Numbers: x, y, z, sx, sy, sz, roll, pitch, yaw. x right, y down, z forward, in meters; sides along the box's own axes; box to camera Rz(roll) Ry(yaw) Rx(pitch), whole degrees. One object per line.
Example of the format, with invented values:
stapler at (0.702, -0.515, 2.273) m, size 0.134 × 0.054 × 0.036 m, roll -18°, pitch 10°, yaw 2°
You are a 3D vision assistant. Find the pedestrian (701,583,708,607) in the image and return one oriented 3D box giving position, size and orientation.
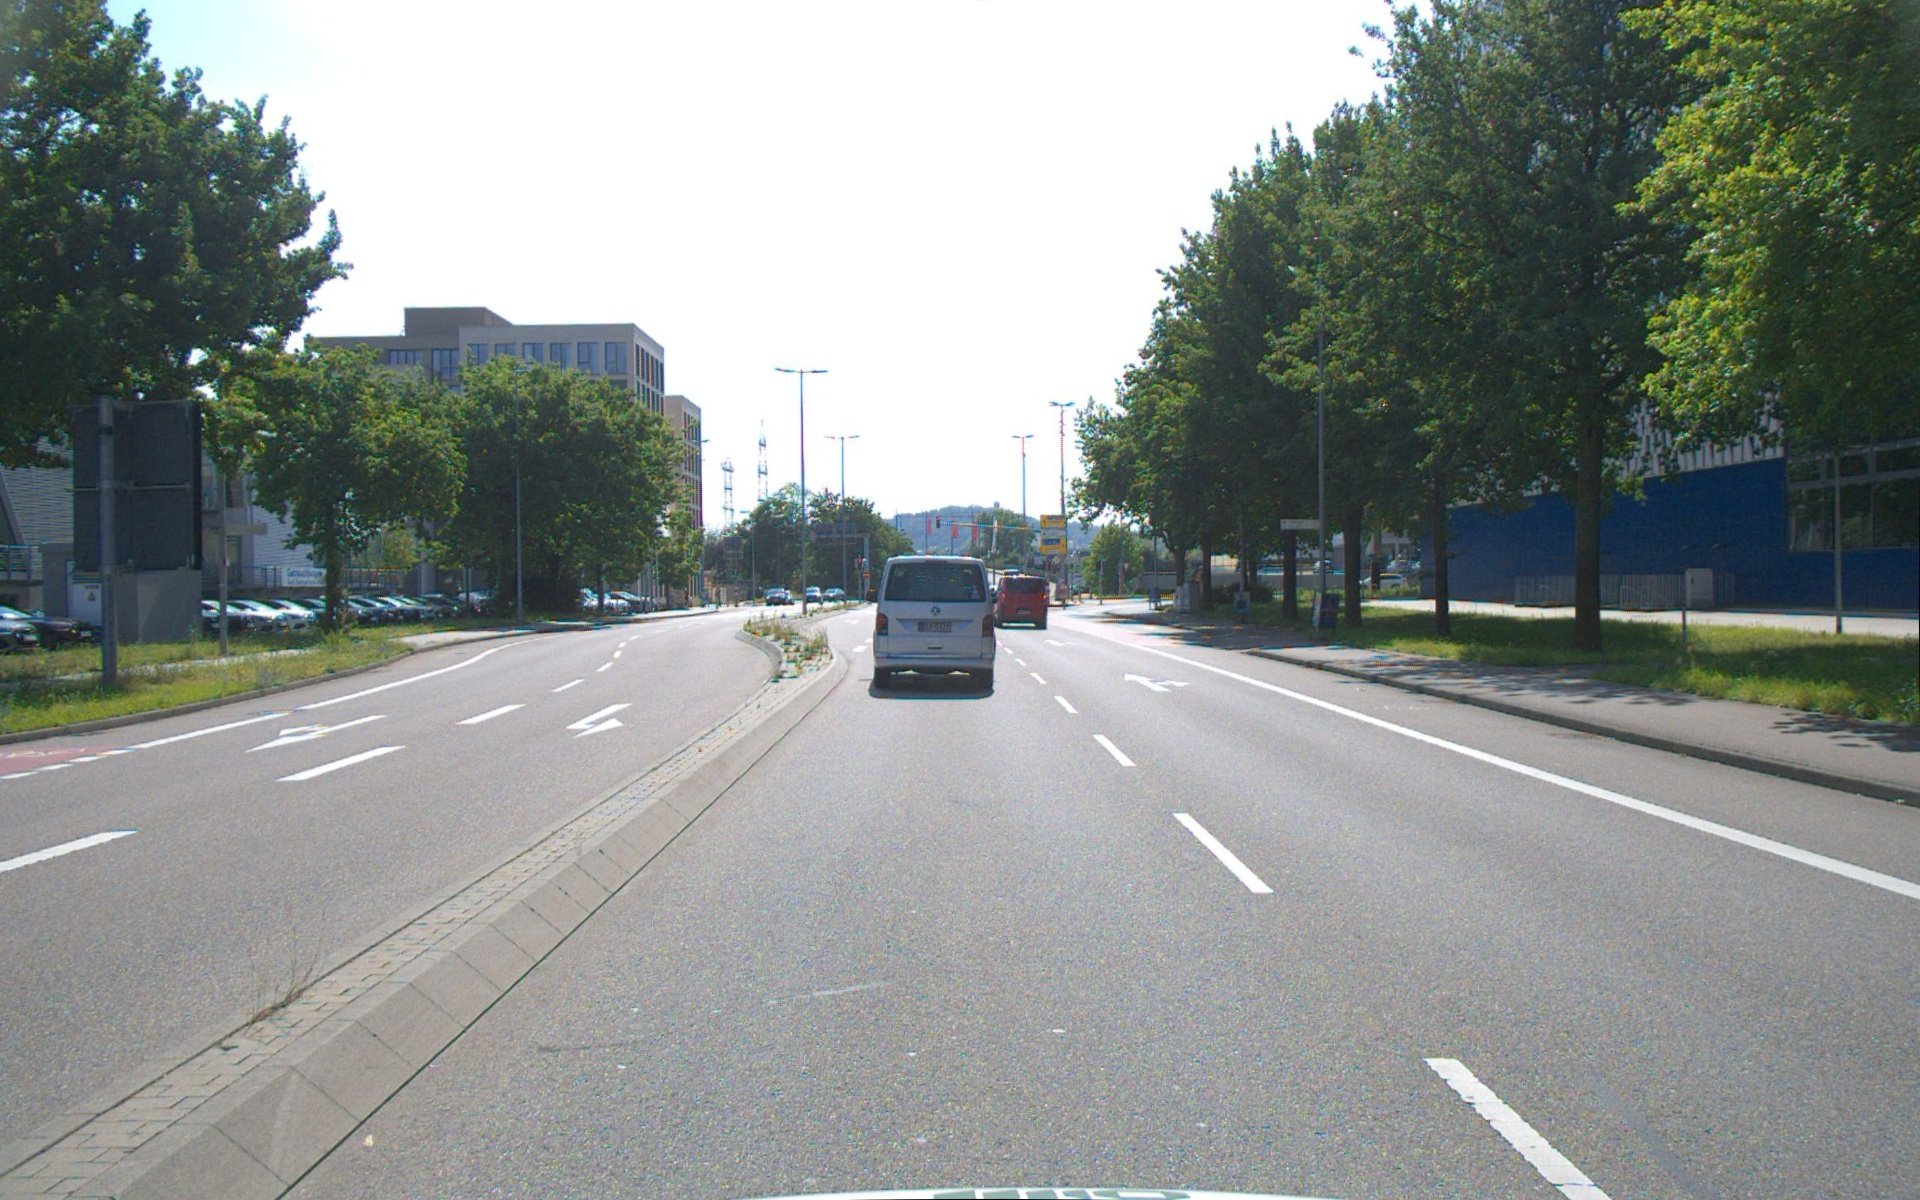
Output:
pedestrian at (-22.063, -0.417, 142.815) m, size 0.548 × 2.049 × 0.575 m, roll 0°, pitch 0°, yaw -9°

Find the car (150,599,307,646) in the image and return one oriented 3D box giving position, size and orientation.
car at (-23.694, 0.712, 53.692) m, size 4.091 × 1.176 × 2.086 m, roll -4°, pitch 1°, yaw -3°

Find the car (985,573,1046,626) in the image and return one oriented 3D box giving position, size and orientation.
car at (2.145, -0.040, 65.243) m, size 1.928 × 2.002 × 5.122 m, roll 0°, pitch 0°, yaw -4°

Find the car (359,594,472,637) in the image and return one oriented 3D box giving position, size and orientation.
car at (-23.736, 0.664, 72.216) m, size 4.163 × 1.467 × 2.000 m, roll -5°, pitch 0°, yaw -1°

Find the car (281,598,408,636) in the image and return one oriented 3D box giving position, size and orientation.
car at (-23.537, 0.644, 63.336) m, size 4.091 × 1.096 × 1.954 m, roll -4°, pitch 1°, yaw -3°

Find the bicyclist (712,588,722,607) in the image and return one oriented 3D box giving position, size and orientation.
bicyclist at (-20.692, -0.204, 140.742) m, size 0.606 × 1.553 × 1.036 m, roll -2°, pitch 0°, yaw 0°

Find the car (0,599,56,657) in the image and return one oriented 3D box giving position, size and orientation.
car at (-23.796, 0.680, 38.432) m, size 4.410 × 1.312 × 2.003 m, roll -1°, pitch 0°, yaw -3°

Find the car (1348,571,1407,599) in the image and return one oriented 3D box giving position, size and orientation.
car at (33.942, -1.212, 134.557) m, size 4.310 × 2.029 × 1.481 m, roll -3°, pitch 0°, yaw 3°

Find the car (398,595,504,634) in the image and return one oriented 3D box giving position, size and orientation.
car at (-23.836, 0.666, 77.568) m, size 4.218 × 1.467 × 2.051 m, roll -5°, pitch 0°, yaw -1°

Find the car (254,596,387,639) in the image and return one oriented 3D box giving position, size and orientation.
car at (-23.635, 0.628, 61.238) m, size 4.091 × 1.211 × 1.954 m, roll -4°, pitch 1°, yaw -3°

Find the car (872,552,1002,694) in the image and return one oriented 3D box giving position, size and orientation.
car at (-0.360, 0.308, 25.782) m, size 1.846 × 2.025 × 3.999 m, roll 0°, pitch 0°, yaw -1°

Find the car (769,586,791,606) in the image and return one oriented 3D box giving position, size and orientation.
car at (-16.544, -0.376, 152.307) m, size 1.704 × 1.646 × 4.207 m, roll -4°, pitch 1°, yaw -3°

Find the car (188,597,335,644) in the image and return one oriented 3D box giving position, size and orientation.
car at (-23.737, 0.682, 56.313) m, size 4.091 × 1.211 × 1.954 m, roll -4°, pitch 1°, yaw -3°

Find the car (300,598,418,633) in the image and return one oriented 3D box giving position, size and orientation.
car at (-23.843, 0.612, 65.709) m, size 4.027 × 1.052 × 1.696 m, roll -4°, pitch 1°, yaw -3°

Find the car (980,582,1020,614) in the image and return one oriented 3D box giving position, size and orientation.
car at (1.926, -0.131, 80.429) m, size 1.711 × 1.484 × 4.475 m, roll 0°, pitch 0°, yaw -1°

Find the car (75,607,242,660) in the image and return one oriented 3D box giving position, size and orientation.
car at (-23.508, 0.971, 48.636) m, size 3.908 × 1.176 × 1.896 m, roll -4°, pitch 1°, yaw -3°

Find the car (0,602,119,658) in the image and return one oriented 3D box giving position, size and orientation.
car at (-23.832, 0.764, 41.505) m, size 4.410 × 1.312 × 1.918 m, roll -1°, pitch 0°, yaw -3°

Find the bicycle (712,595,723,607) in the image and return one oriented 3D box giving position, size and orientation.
bicycle at (-20.662, 0.089, 140.936) m, size 0.666 × 0.957 × 1.973 m, roll -2°, pitch 0°, yaw 0°

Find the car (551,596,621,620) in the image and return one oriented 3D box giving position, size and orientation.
car at (-23.178, 0.484, 102.639) m, size 3.794 × 1.186 × 1.912 m, roll -4°, pitch 1°, yaw 2°

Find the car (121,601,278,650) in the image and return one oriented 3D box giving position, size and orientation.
car at (-23.516, 0.779, 51.249) m, size 3.908 × 1.176 × 1.896 m, roll -4°, pitch 1°, yaw -3°

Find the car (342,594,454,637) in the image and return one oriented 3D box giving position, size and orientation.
car at (-23.573, 0.629, 69.481) m, size 3.907 × 1.467 × 2.000 m, roll -5°, pitch 0°, yaw -1°
